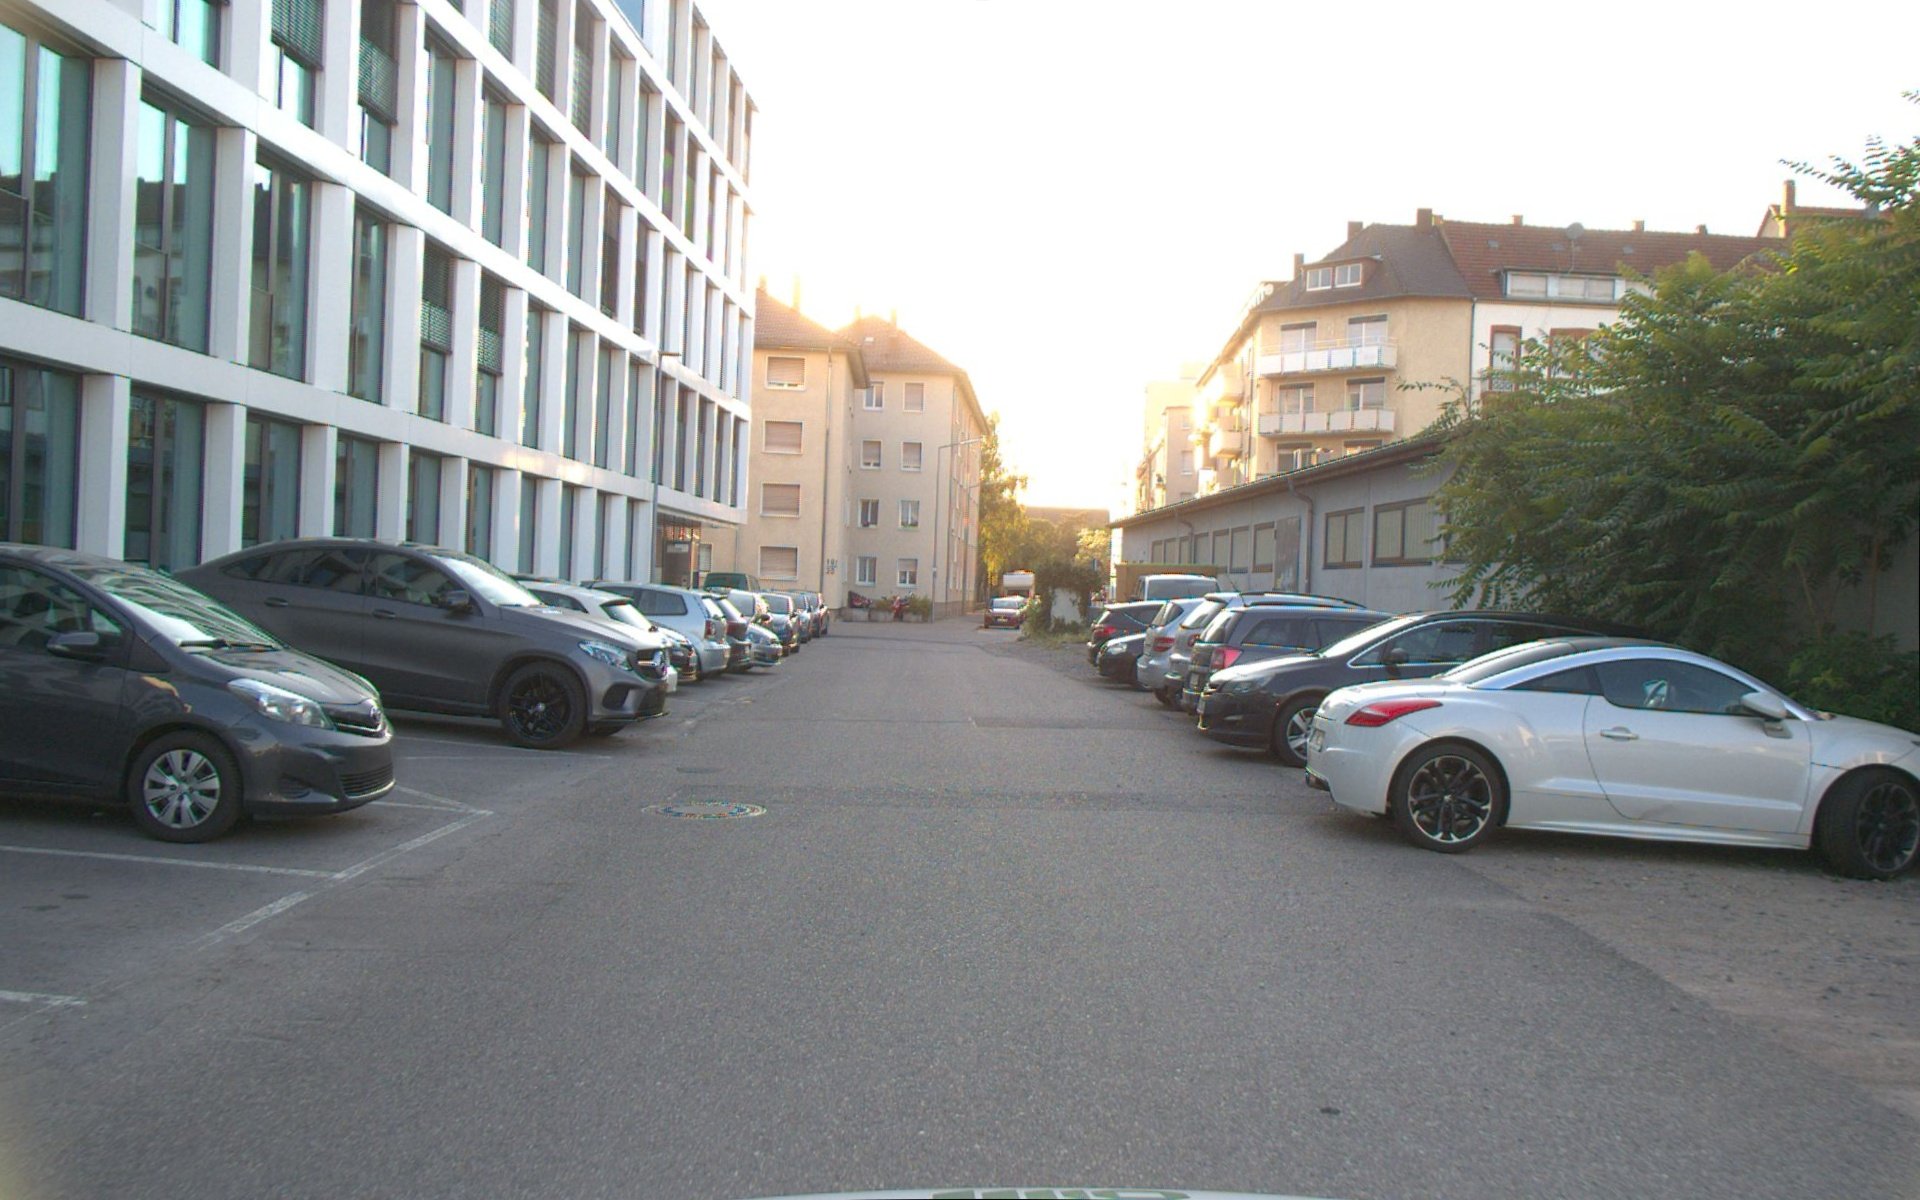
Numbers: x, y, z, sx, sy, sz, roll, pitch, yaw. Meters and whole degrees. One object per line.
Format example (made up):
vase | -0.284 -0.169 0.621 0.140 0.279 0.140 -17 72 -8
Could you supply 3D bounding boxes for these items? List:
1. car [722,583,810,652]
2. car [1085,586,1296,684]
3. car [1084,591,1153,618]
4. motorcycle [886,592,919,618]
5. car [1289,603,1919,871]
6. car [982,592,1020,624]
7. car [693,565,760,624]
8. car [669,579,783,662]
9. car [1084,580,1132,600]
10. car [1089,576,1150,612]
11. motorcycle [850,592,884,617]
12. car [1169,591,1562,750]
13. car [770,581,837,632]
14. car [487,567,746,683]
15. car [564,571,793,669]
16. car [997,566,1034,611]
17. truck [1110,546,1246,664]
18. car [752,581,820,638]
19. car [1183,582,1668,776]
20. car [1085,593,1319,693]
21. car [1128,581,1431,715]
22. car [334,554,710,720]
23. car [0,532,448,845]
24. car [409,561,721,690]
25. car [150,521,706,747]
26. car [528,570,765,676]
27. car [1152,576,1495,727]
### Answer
car | -4.730 0.400 40.725 1.615 1.463 4.184 6 0 -1
car | 4.265 0.634 31.054 3.682 1.562 1.892 3 1 1
car | 10.051 0.300 105.040 4.234 1.666 1.818 0 0 2
motorcycle | -2.771 0.250 80.324 0.675 1.180 2.031 2 0 27
car | 4.399 0.841 10.900 4.115 1.391 1.824 3 0 3
car | 2.047 0.390 82.240 1.807 1.499 4.079 2 0 2
car | -8.548 -0.242 60.873 1.761 2.014 4.689 2 1 -1
car | -4.844 0.395 34.763 1.615 1.463 4.202 6 0 1
car | 12.269 -0.846 137.658 3.904 1.557 1.659 1 0 3
car | 12.447 -0.440 129.118 4.715 2.765 2.137 1 0 6
motorcycle | -4.376 0.210 77.863 0.709 1.098 2.080 2 0 24
car | 4.431 0.761 18.500 3.902 1.470 1.827 3 -1 0
car | -5.283 0.201 56.267 1.744 1.504 4.331 6 0 0
car | -5.316 0.366 25.894 3.579 1.537 1.688 3 1 2
car | -5.161 0.352 30.635 3.845 1.537 1.688 3 1 2
car | 4.335 -0.888 127.713 2.565 3.326 7.700 1 0 4
truck | 4.518 0.090 35.224 2.055 2.239 5.710 2 0 0
car | -5.235 0.253 50.136 1.676 1.504 4.182 6 0 -3
car | 4.356 0.724 15.984 4.116 1.529 1.890 3 -1 1
car | 4.125 0.726 28.618 3.683 1.469 1.845 3 -1 -1
car | 4.508 0.655 23.782 3.903 1.637 1.938 3 0 -1
car | -4.780 0.377 18.347 3.589 1.537 1.697 3 1 5
car | -5.140 0.409 9.631 3.704 1.548 1.693 3 1 0
car | -5.544 0.339 23.532 3.882 1.537 1.796 3 1 3
car | -4.917 0.280 15.713 4.522 1.735 2.006 3 1 5
car | -5.272 0.367 28.087 3.579 1.537 1.688 3 1 2
car | 4.591 0.636 21.271 3.905 1.647 1.826 3 0 -4
